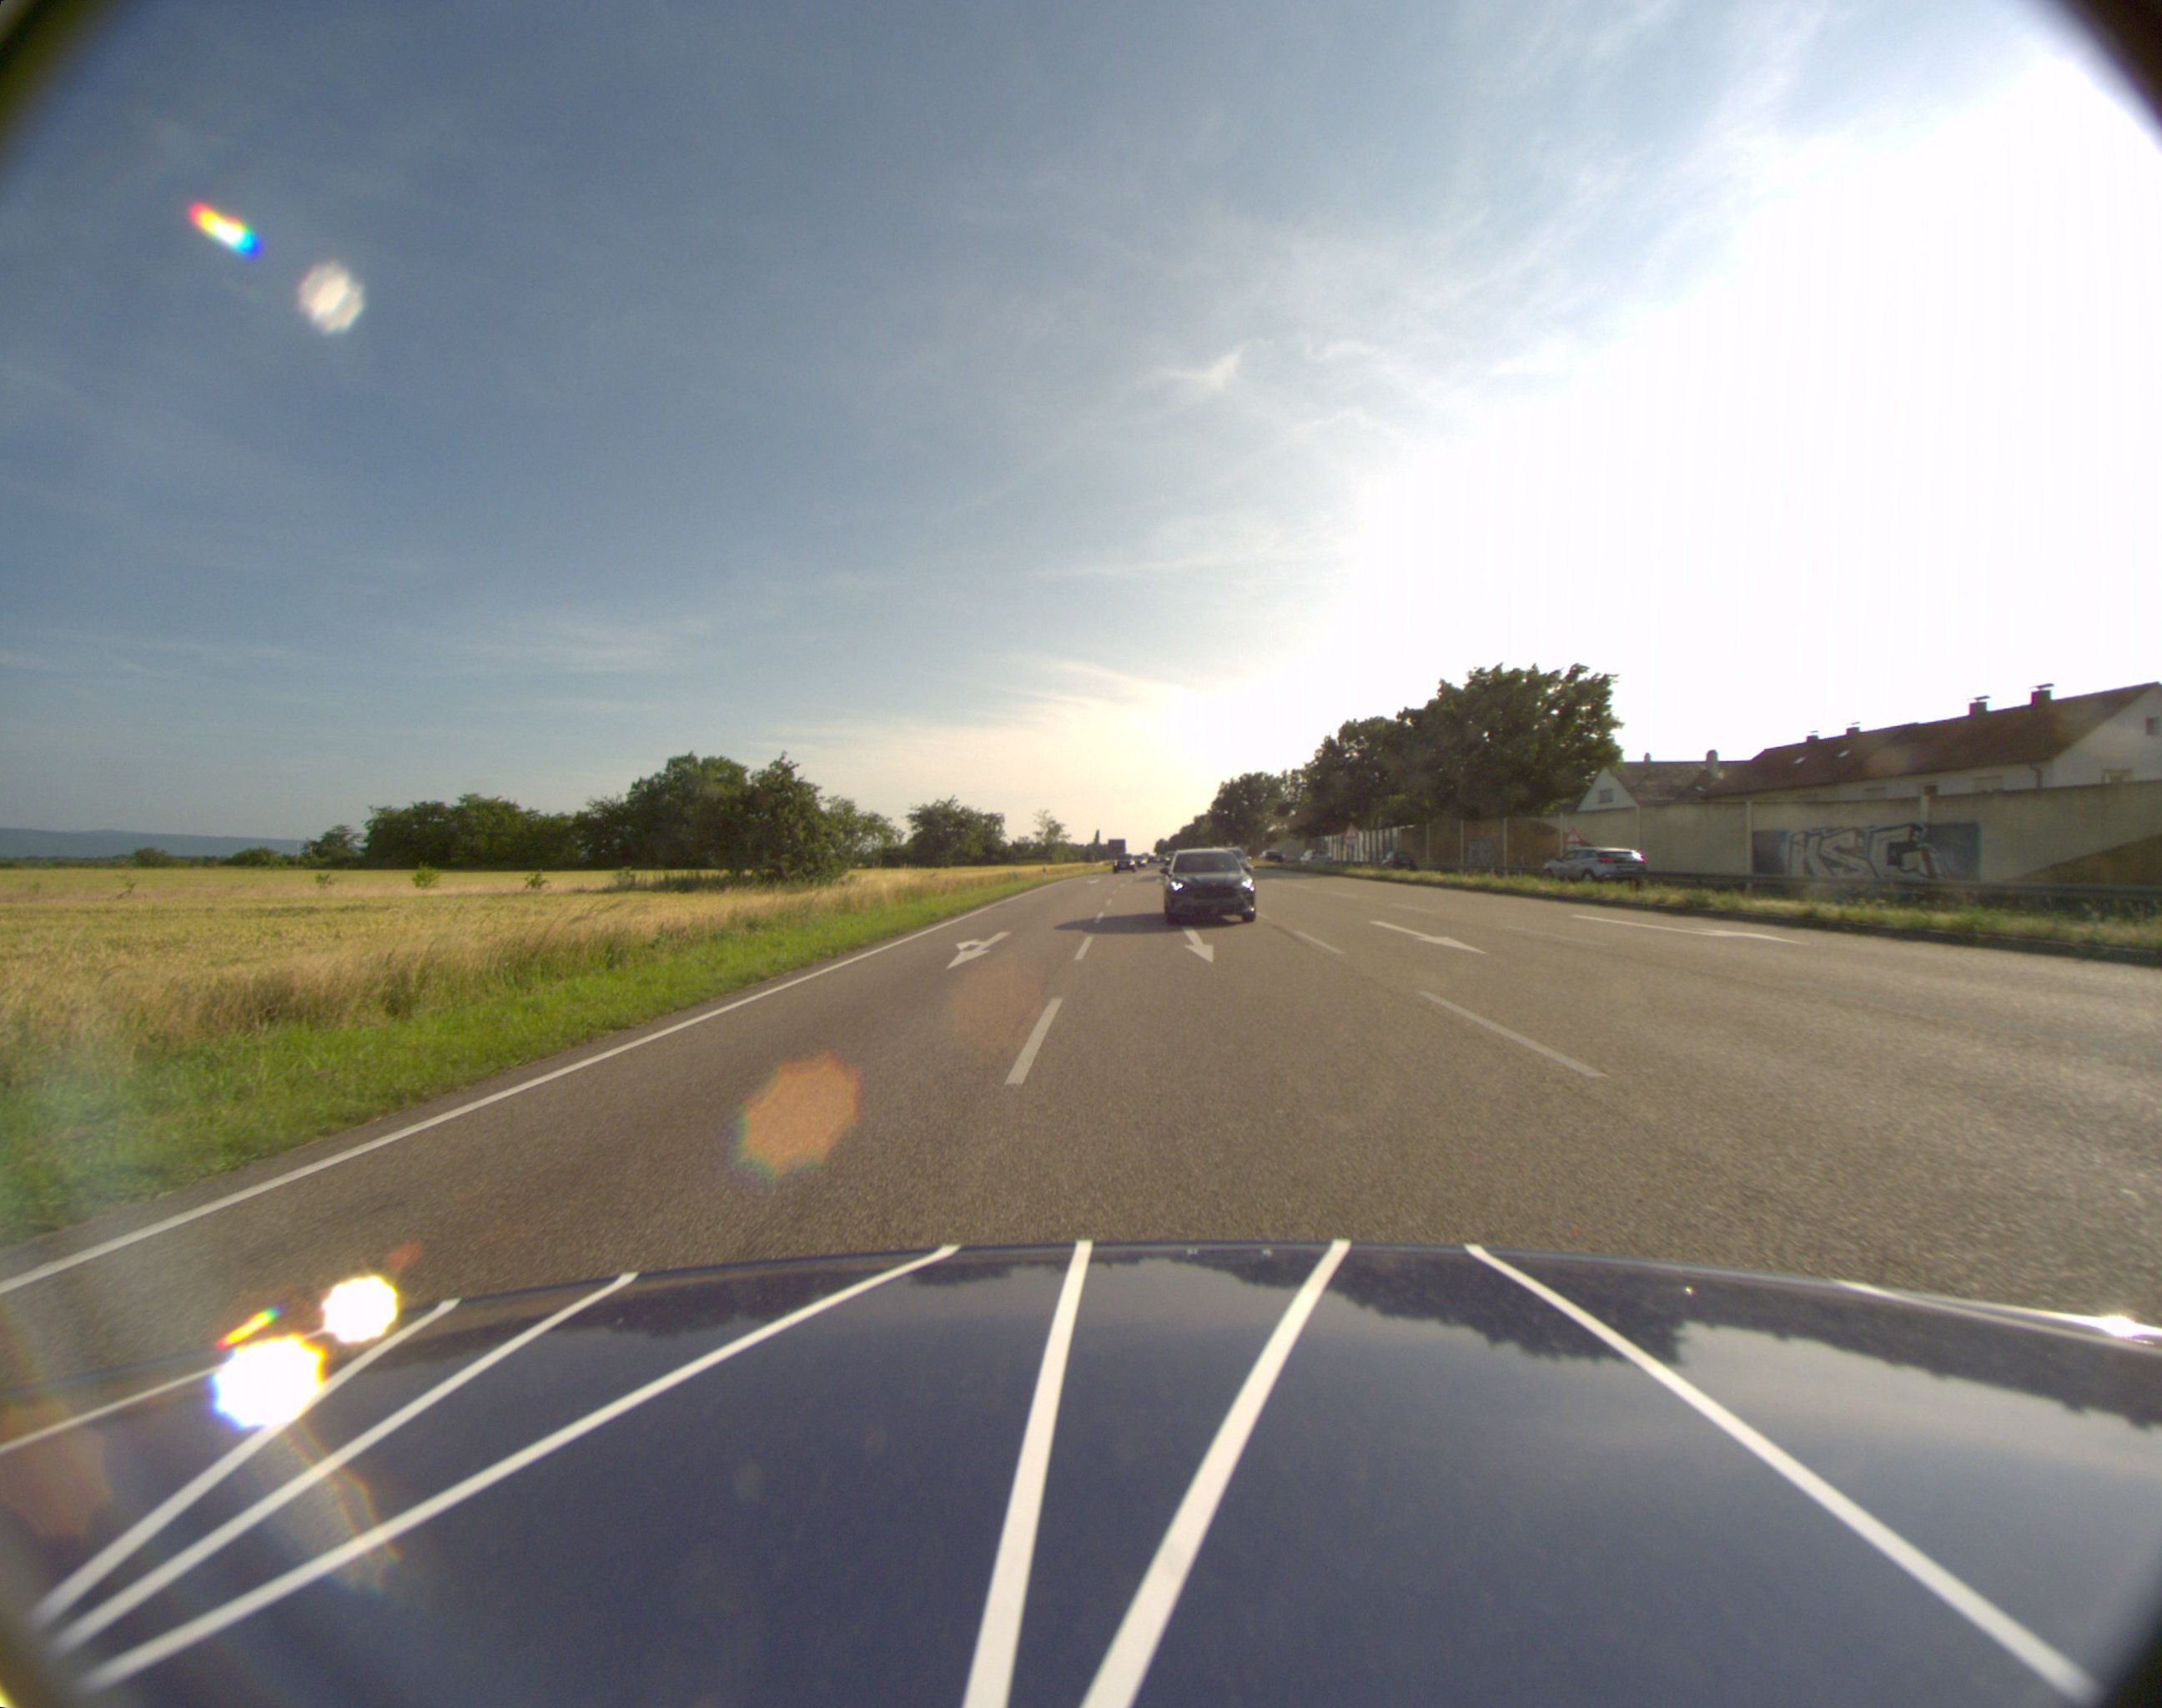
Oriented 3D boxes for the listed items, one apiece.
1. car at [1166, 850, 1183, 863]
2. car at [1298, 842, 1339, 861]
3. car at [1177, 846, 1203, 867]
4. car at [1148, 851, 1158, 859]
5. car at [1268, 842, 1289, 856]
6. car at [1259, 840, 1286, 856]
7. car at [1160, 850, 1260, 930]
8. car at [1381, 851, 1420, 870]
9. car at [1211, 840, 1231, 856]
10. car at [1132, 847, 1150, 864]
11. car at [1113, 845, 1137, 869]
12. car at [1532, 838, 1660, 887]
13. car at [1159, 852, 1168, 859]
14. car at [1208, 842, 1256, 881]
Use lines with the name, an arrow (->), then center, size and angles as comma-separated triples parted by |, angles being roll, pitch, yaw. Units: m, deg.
car -> 11.463, 0.289, 93.384 | 1.809, 1.499, 4.001 | -3, 0, 4
car -> 17.962, -0.169, 57.686 | 1.877, 1.314, 4.714 | -3, 0, 4
car -> 8.961, 0.183, 62.889 | 1.822, 1.661, 4.001 | -3, 0, 4
car -> 14.941, 0.117, 157.680 | 1.729, 1.608, 4.000 | -3, 0, 1
car -> 24.414, -0.625, 93.951 | 1.655, 1.558, 4.713 | -3, 0, 5
car -> 19.659, -0.614, 78.130 | 1.735, 1.615, 4.923 | -3, 0, 4
car -> 2.795, 0.710, 17.328 | 1.821, 1.516, 4.247 | -3, 0, 5
car -> 21.508, 0.443, 51.210 | 1.477, 1.157, 3.062 | -3, 0, 5
car -> 22.290, -0.988, 121.225 | 2.353, 2.290, 7.192 | -3, 0, 4
car -> 6.572, 0.178, 83.380 | 1.806, 1.783, 4.001 | -3, 0, 5
car -> 3.609, 0.226, 61.932 | 1.805, 1.783, 4.001 | -3, 0, 5
car -> 19.734, 0.304, 29.386 | 1.981, 1.656, 4.590 | -3, 0, 3
car -> 15.824, 0.281, 145.236 | 1.496, 1.149, 3.650 | -3, 0, 3
car -> 7.362, 0.339, 37.416 | 1.822, 1.724, 4.001 | -3, 0, 5
